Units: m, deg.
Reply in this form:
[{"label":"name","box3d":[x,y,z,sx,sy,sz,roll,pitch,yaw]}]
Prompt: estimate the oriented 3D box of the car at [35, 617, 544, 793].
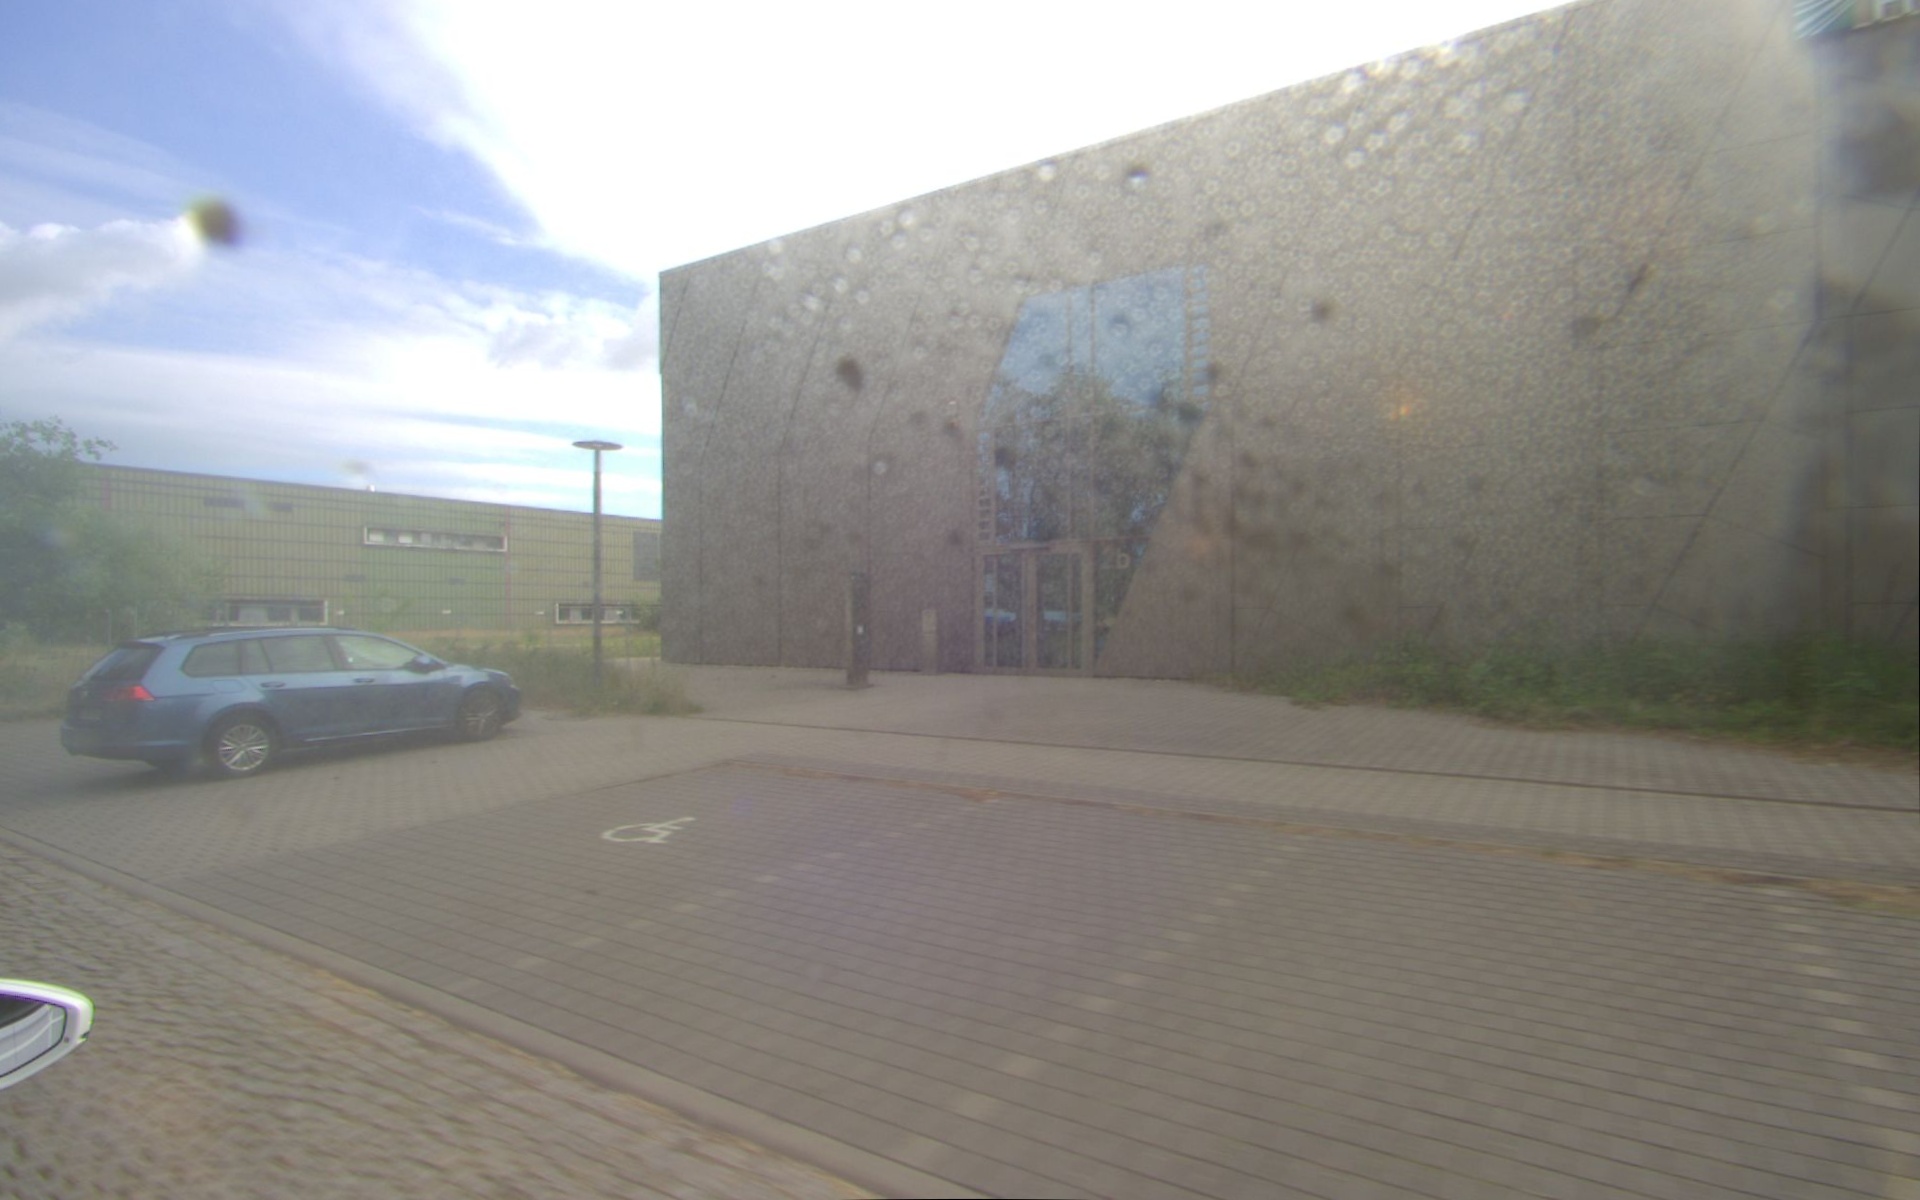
[{"label":"car","box3d":[-7.323,1.001,11.511,1.796,1.463,4.514,0,1,30]}]
